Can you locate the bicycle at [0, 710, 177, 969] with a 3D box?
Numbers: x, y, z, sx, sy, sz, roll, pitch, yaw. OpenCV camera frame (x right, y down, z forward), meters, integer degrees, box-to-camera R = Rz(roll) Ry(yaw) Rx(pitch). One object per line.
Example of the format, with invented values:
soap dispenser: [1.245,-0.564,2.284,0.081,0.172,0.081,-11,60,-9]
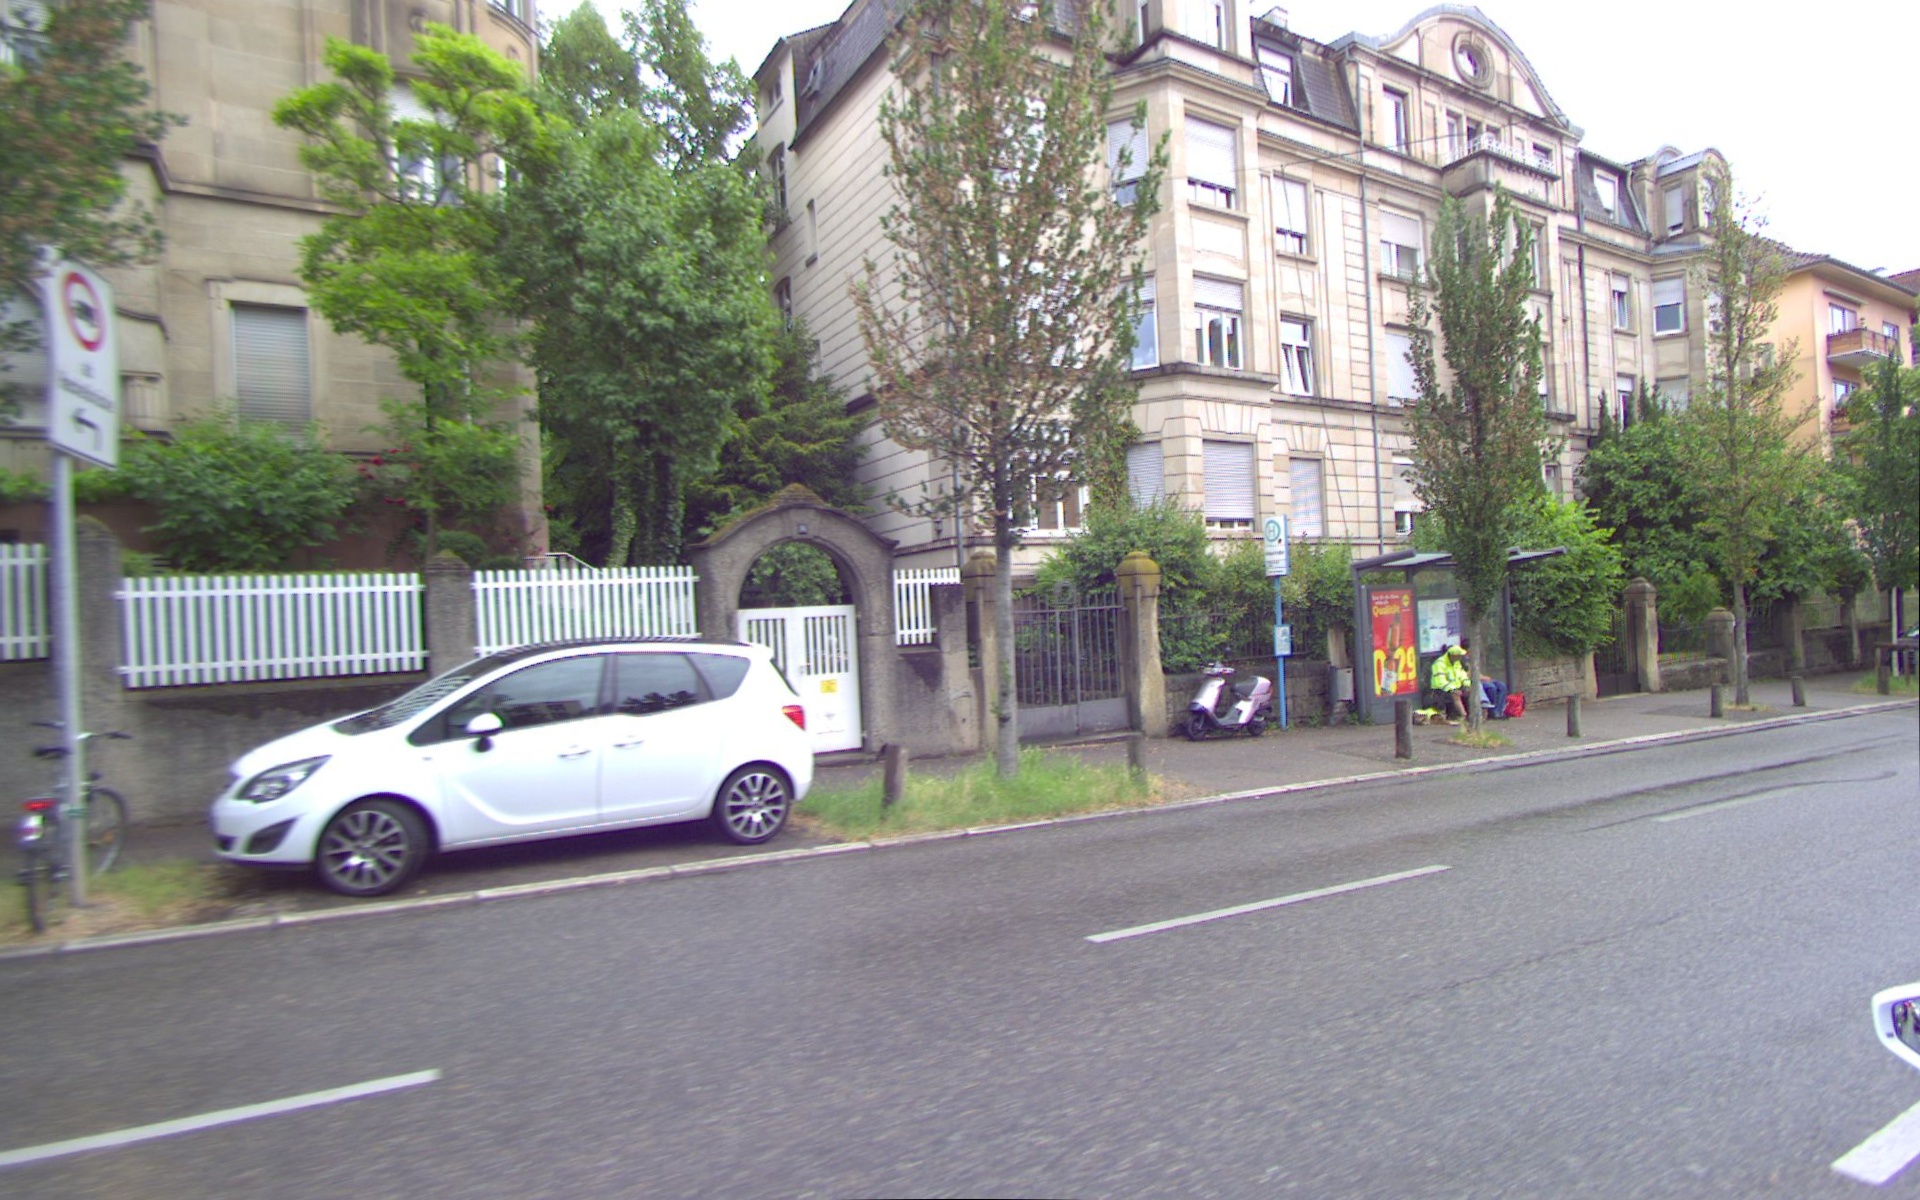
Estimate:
bicycle: [-5.425,1.371,6.247,0.650,1.251,1.965,0,-3,-31]

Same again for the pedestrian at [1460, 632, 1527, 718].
pedestrian: [9.312,1.303,17.547,0.641,1.451,0.763,0,-3,-29]

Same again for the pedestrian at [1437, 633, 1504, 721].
pedestrian: [8.746,1.309,17.225,0.641,1.451,0.763,0,-3,-29]

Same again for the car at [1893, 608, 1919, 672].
car: [25.837,1.006,25.923,4.259,1.580,1.730,0,0,-35]

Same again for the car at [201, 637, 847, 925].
car: [-3.160,1.132,7.807,4.257,1.580,1.731,0,-1,-34]

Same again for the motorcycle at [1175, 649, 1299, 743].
motorcycle: [4.023,1.363,14.553,1.741,1.253,0.653,0,-3,-29]

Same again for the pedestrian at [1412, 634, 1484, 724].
pedestrian: [8.207,1.310,16.895,0.751,1.451,0.762,0,-3,-31]
